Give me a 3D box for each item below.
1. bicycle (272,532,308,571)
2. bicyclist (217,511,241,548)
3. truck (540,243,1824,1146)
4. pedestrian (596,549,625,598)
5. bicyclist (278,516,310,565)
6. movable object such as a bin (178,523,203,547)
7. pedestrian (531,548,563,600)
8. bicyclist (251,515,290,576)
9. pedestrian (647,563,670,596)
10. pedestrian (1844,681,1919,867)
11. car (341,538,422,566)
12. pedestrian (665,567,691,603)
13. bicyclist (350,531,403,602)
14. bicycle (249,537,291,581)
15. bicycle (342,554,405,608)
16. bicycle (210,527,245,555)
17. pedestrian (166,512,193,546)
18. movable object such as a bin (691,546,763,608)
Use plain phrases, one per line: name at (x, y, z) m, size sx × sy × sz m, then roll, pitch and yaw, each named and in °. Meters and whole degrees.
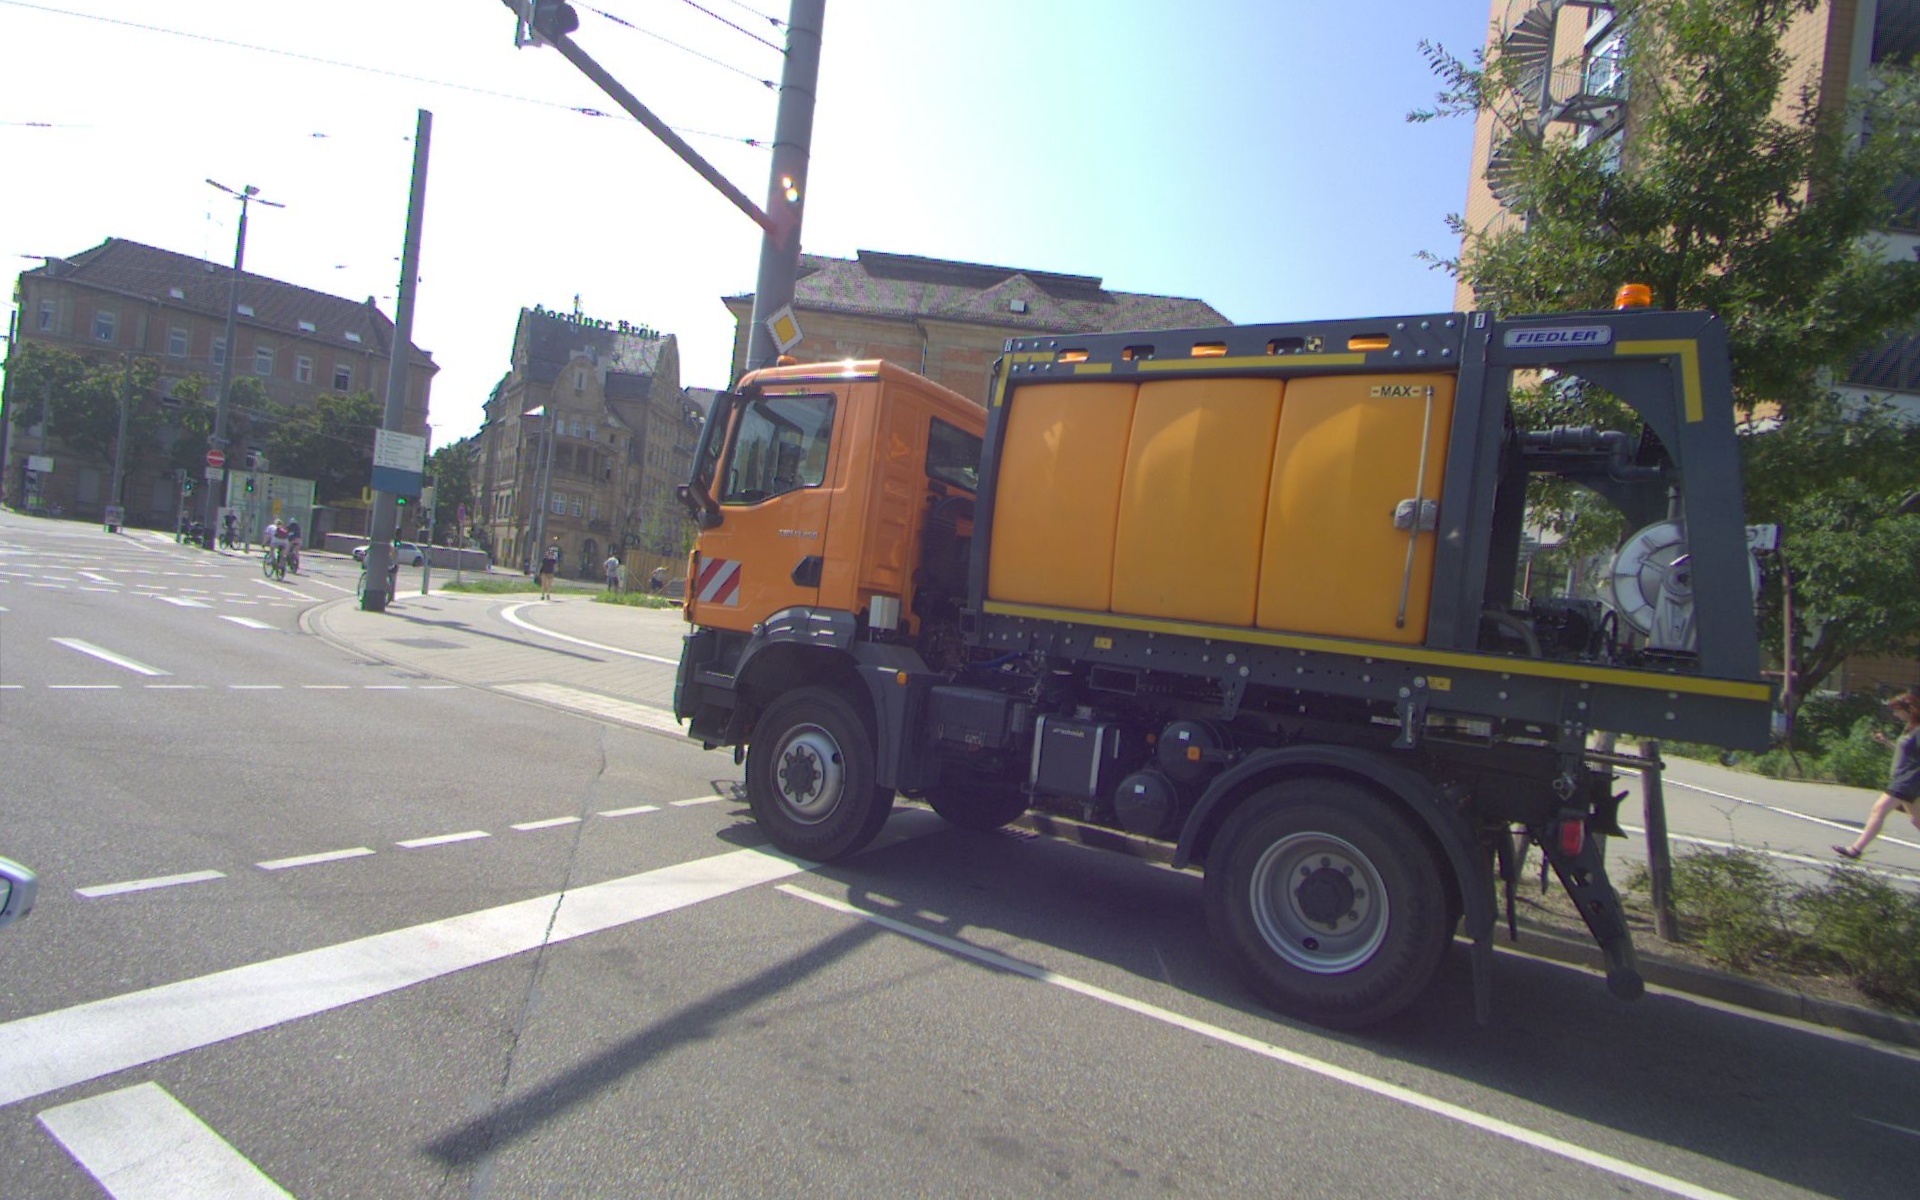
bicycle at (-21.130, -1.533, 31.718) m, size 1.631 × 1.068 × 0.535 m, roll 7°, pitch 1°, yaw 44°
bicyclist at (-32.996, -3.183, 45.401) m, size 0.512 × 1.548 × 0.613 m, roll 7°, pitch 1°, yaw 24°
truck at (0.667, 0.124, 6.402) m, size 6.749 × 3.171 × 2.496 m, roll 7°, pitch -1°, yaw 33°
pedestrian at (-13.120, -0.977, 37.768) m, size 0.808 × 1.746 × 0.545 m, roll 6°, pitch 1°, yaw -10°
bicyclist at (-20.814, -1.859, 31.440) m, size 0.882 × 1.410 × 0.529 m, roll 7°, pitch 1°, yaw 43°
movable object such as a bin at (-37.934, -3.203, 49.595) m, size 0.800 × 1.091 × 0.512 m, roll 7°, pitch 1°, yaw 6°
pedestrian at (-13.609, -0.853, 33.180) m, size 0.727 × 1.595 × 0.787 m, roll 6°, pitch 1°, yaw -15°
bicyclist at (-18.643, -1.467, 27.206) m, size 0.702 × 1.536 × 0.626 m, roll 7°, pitch 1°, yaw 43°
pedestrian at (-12.115, -0.836, 40.441) m, size 0.660 × 1.229 × 0.523 m, roll 6°, pitch 1°, yaw -31°
pedestrian at (9.387, 1.710, 9.875) m, size 0.792 × 1.720 × 0.671 m, roll 7°, pitch 1°, yaw 30°
car at (-33.646, -2.762, 58.629) m, size 1.962 × 1.103 × 4.002 m, roll 7°, pitch 0°, yaw 9°
pedestrian at (-11.843, -0.618, 42.293) m, size 0.679 × 1.417 × 0.767 m, roll 7°, pitch 1°, yaw 6°
bicyclist at (-13.598, -0.787, 23.443) m, size 0.653 × 1.536 × 0.734 m, roll 7°, pitch 1°, yaw 35°
bicycle at (-18.837, -1.127, 27.449) m, size 1.631 × 1.068 × 0.535 m, roll 7°, pitch 1°, yaw 44°
bicycle at (-13.702, -0.450, 23.492) m, size 1.794 × 1.068 × 0.492 m, roll 7°, pitch 1°, yaw 36°
bicycle at (-33.060, -2.667, 45.424) m, size 1.624 × 1.068 × 0.470 m, roll 7°, pitch 1°, yaw 25°
pedestrian at (-38.651, -3.501, 49.832) m, size 0.836 × 1.564 × 0.529 m, roll 6°, pitch 1°, yaw 7°
movable object such as a bin at (-10.935, -0.990, 47.629) m, size 1.926 × 2.338 × 5.562 m, roll 7°, pitch -2°, yaw -1°
